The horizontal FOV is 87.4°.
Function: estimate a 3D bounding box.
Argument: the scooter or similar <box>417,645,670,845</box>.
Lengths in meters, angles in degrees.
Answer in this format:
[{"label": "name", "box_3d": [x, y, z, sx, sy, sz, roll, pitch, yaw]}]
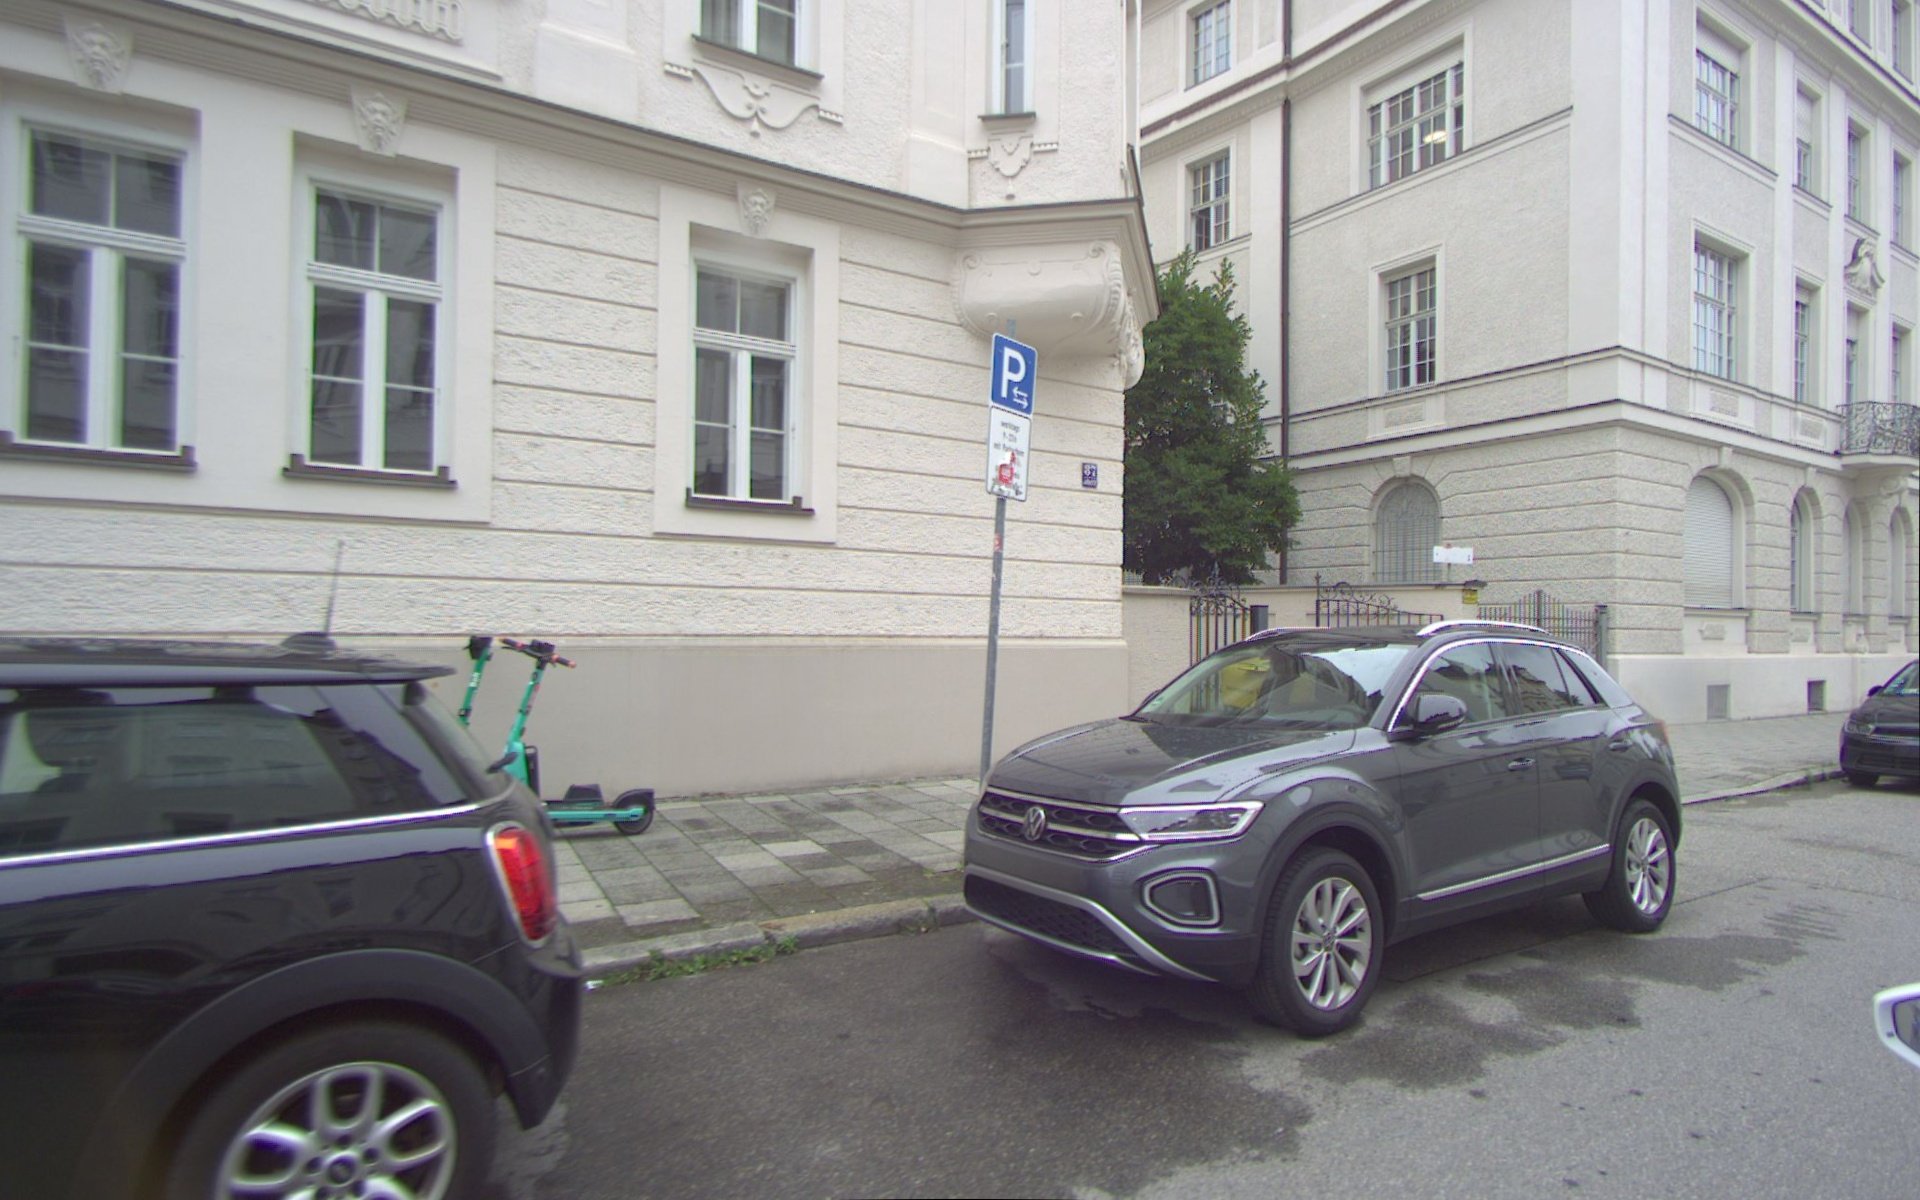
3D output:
[{"label": "scooter or similar", "box_3d": [-2.827, 0.937, 6.882, 1.530, 1.238, 0.491, 2, -1, -31]}]

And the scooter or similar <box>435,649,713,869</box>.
[{"label": "scooter or similar", "box_3d": [-2.375, 0.920, 6.245, 1.530, 1.216, 0.529, 2, -1, -31]}]

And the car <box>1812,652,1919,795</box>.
[{"label": "car", "box_3d": [11.493, 1.306, 11.210, 4.231, 1.433, 1.784, 2, -4, -32]}]

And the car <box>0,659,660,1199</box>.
[{"label": "car", "box_3d": [-2.986, 0.858, 2.165, 4.195, 1.412, 1.828, 1, -3, -30]}]

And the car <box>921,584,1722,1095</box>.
[{"label": "car", "box_3d": [1.978, 0.865, 5.098, 4.077, 1.640, 1.717, 2, -4, -33]}]

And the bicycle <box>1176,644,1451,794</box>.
[{"label": "bicycle", "box_3d": [3.638, 1.136, 10.268, 2.685, 1.259, 1.146, 2, 2, -31]}]
